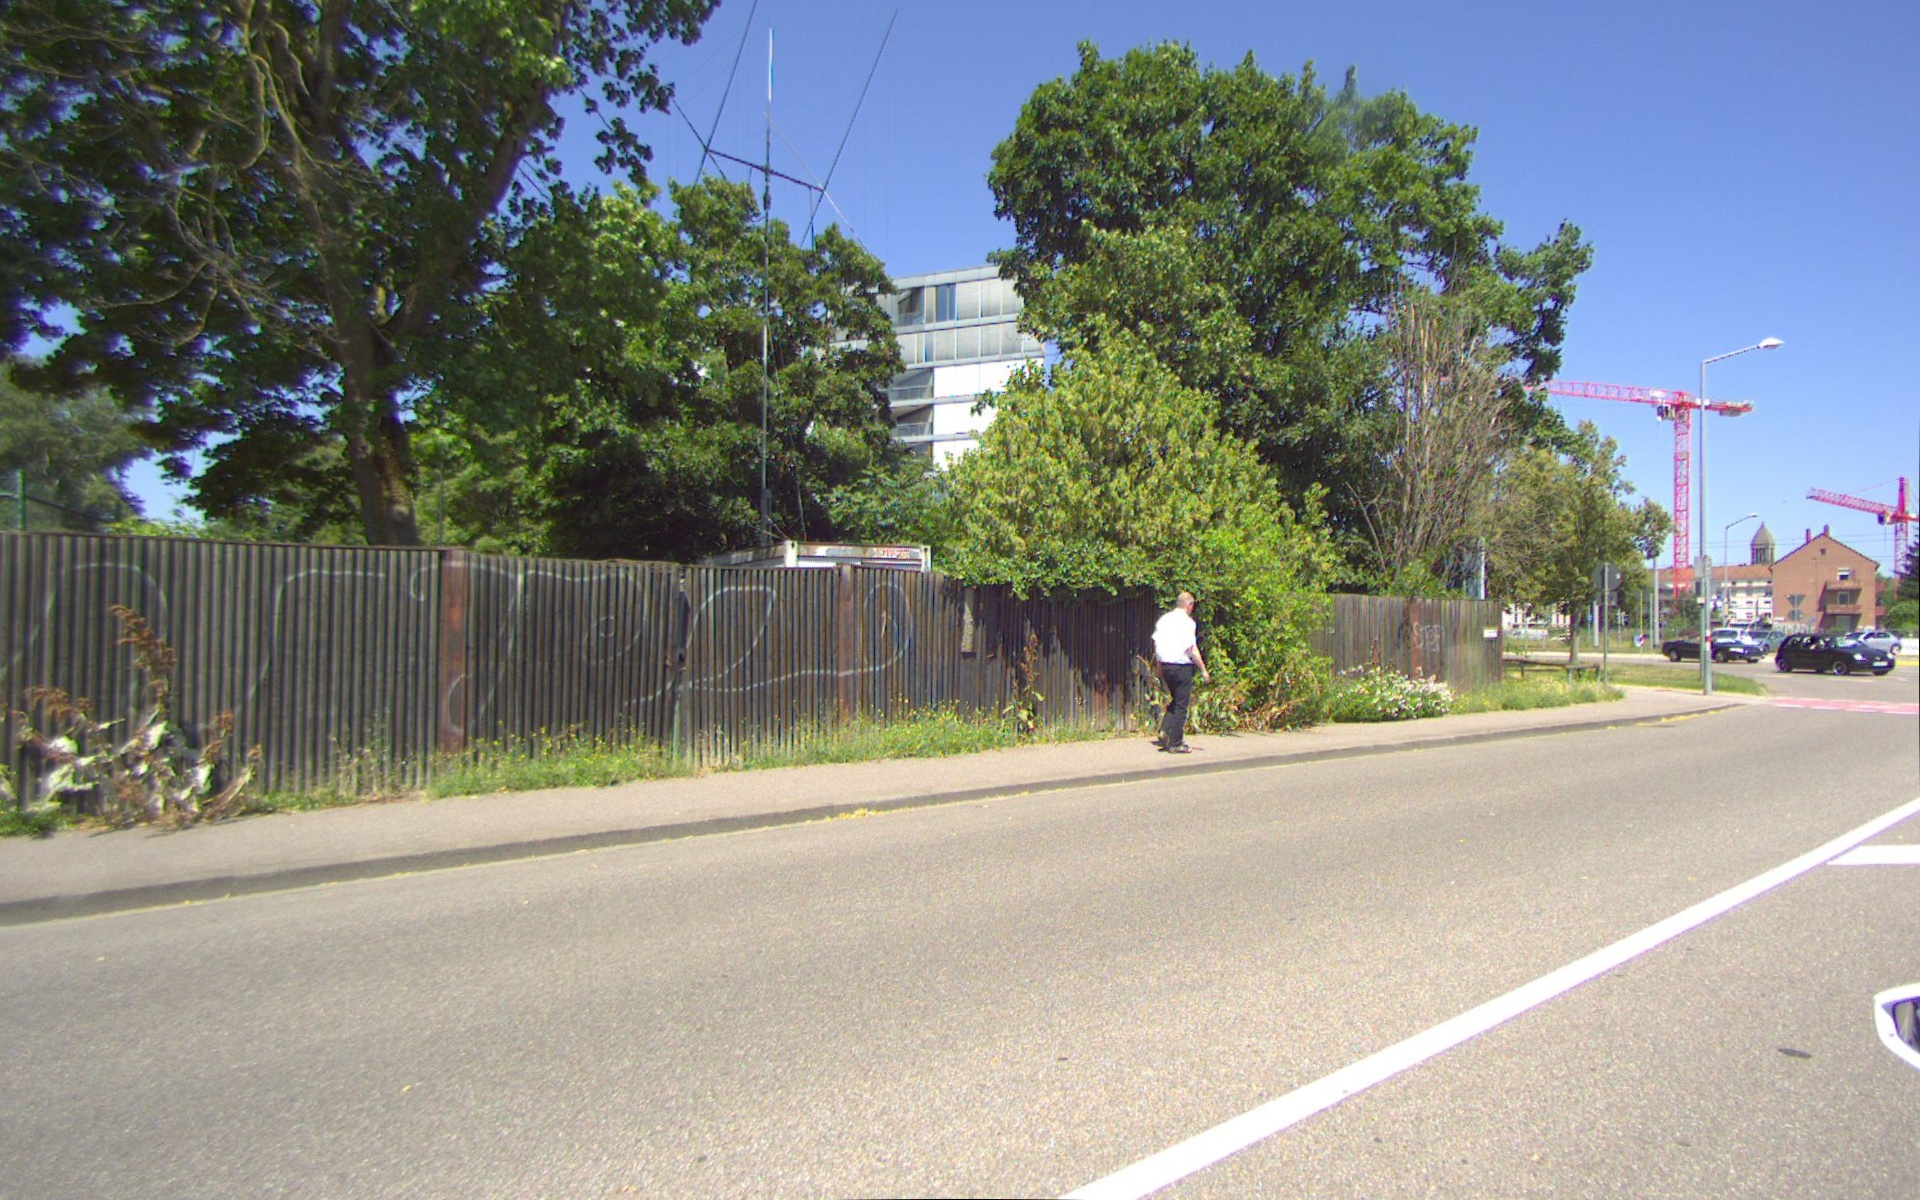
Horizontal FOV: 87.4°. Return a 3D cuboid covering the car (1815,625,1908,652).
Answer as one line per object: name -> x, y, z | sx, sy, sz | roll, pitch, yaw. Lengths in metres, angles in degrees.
car -> 55.597, 2.378, 62.008 | 4.136, 1.520, 1.713 | 1, -1, 3

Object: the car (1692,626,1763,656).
car -> 42.554, 2.242, 55.654 | 3.953, 1.570, 1.748 | 2, -1, -30

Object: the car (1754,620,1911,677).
car -> 31.285, 1.693, 36.170 | 1.963, 1.840, 3.996 | 1, -1, -6

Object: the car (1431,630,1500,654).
car -> 31.244, 2.574, 62.242 | 1.789, 1.334, 4.273 | 1, -1, -7

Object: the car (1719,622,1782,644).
car -> 46.421, 1.941, 58.973 | 3.742, 1.253, 1.699 | 2, -1, -30

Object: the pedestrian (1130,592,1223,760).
pedestrian -> 2.486, 0.846, 11.545 | 0.841, 1.849, 0.589 | 1, 0, -30

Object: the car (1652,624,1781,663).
car -> 35.891, 2.021, 47.856 | 1.964, 1.678, 4.946 | 1, -1, -9
